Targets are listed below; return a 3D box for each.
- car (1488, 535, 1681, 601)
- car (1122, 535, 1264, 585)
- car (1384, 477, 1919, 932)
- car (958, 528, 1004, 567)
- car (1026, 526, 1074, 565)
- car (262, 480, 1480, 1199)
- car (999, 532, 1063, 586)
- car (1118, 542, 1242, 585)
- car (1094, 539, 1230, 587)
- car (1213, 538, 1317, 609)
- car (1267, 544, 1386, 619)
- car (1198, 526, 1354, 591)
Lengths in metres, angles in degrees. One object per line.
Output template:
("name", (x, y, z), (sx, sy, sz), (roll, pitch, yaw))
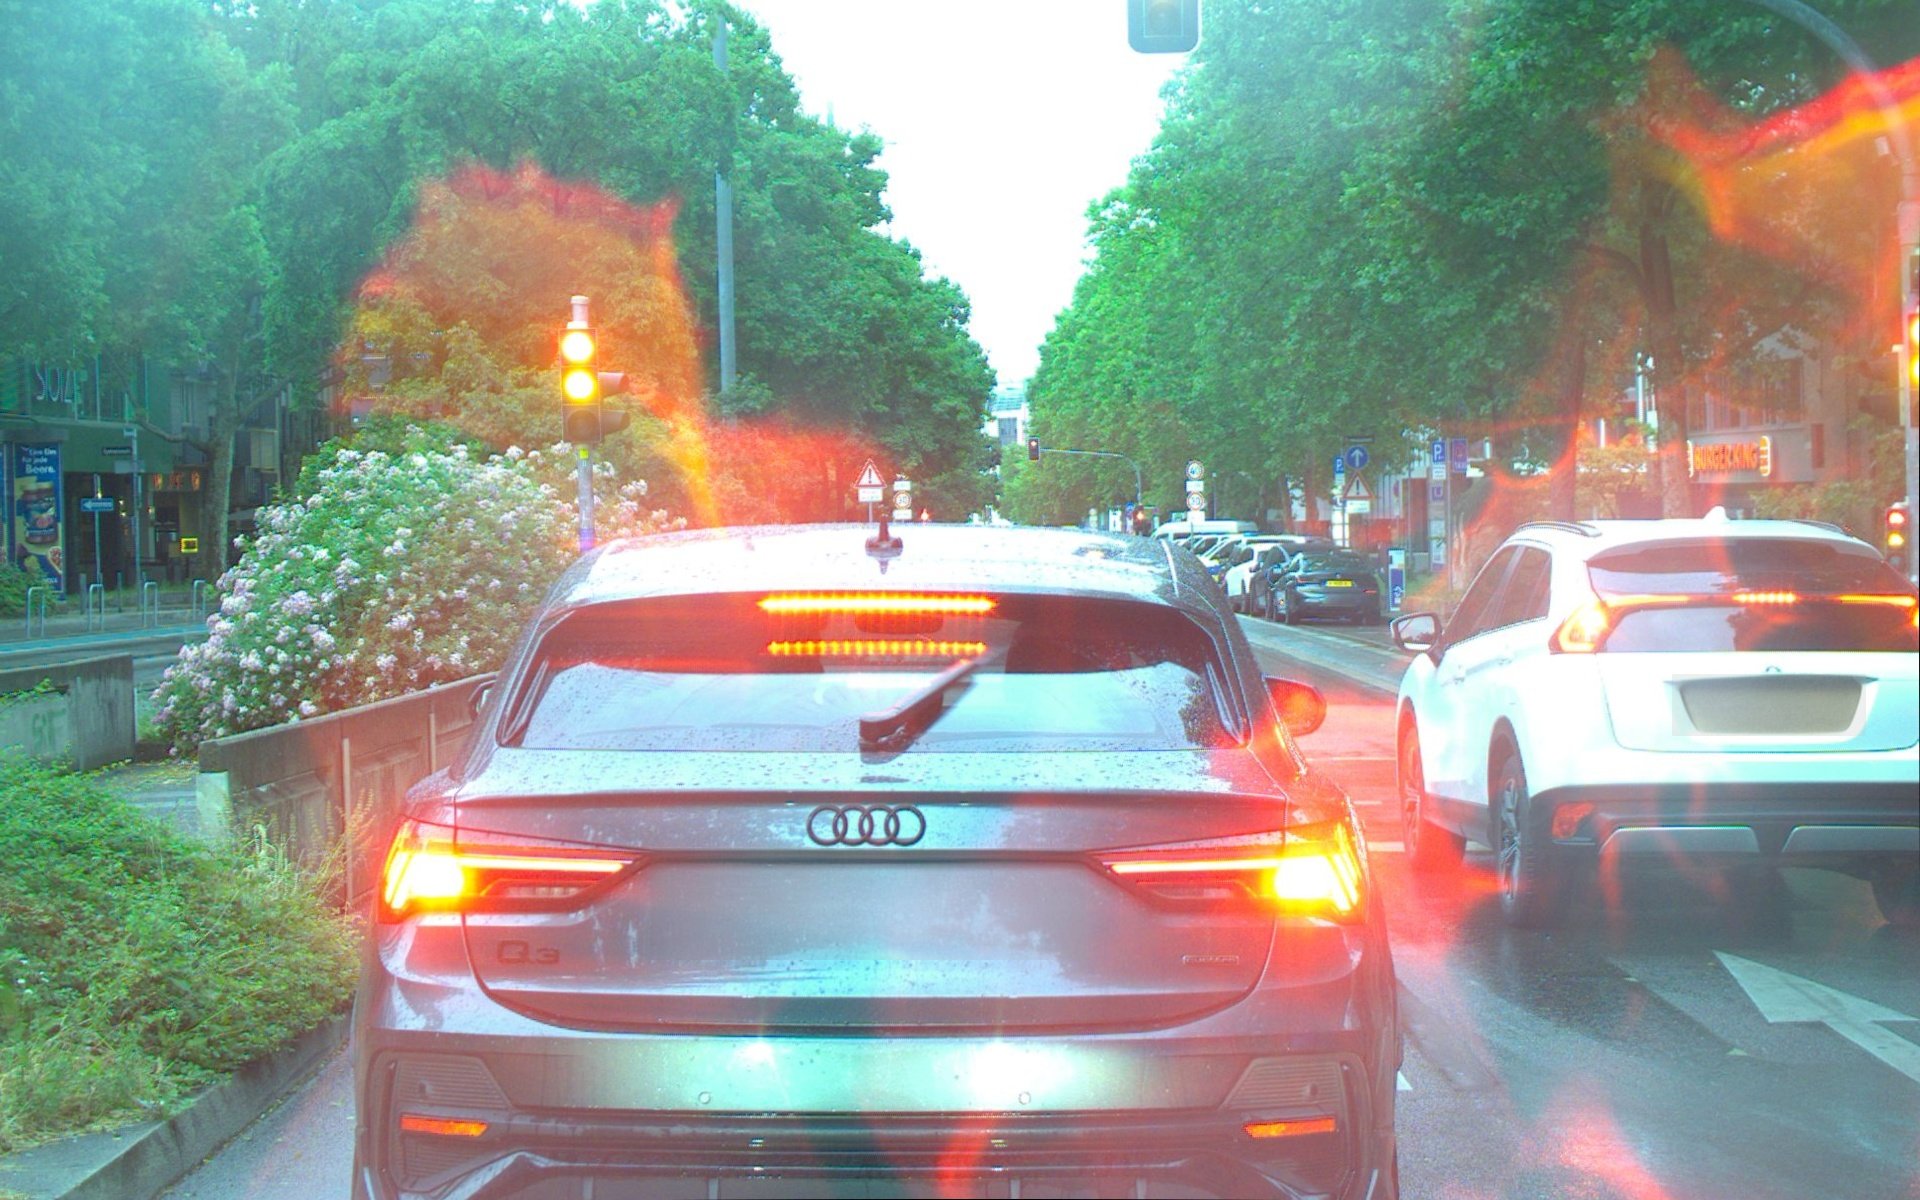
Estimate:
("car", (10.603, -0.549, 58.392), (2.889, 1.071, 1.453), (1, 0, 32))
("car", (8.364, -1.431, 123.285), (4.646, 1.700, 1.997), (1, 0, 28))
("car", (3.034, 0.382, 14.941), (1.878, 1.691, 4.000), (1, 0, 0))
("car", (0.883, -2.251, 147.600), (1.896, 1.593, 3.939), (1, 0, -1))
("car", (3.946, -2.363, 150.959), (1.993, 1.645, 4.000), (1, 0, 1))
("car", (-0.159, 0.587, 7.229), (1.849, 1.596, 4.000), (0, 1, -1))
("car", (2.358, -1.364, 114.823), (1.993, 1.721, 4.000), (1, 0, 0))
("car", (8.987, -1.506, 140.585), (4.646, 1.700, 1.997), (1, 0, 28))
("car", (7.499, -1.385, 127.774), (4.646, 1.700, 1.997), (1, 0, 28))
("car", (6.999, -0.607, 79.164), (1.727, 1.566, 4.074), (1, 0, -4))
("car", (7.264, -0.384, 68.511), (1.873, 1.416, 4.611), (1, 1, 0))
("car", (10.011, -1.314, 109.055), (4.602, 2.007, 1.964), (1, 0, 39))
